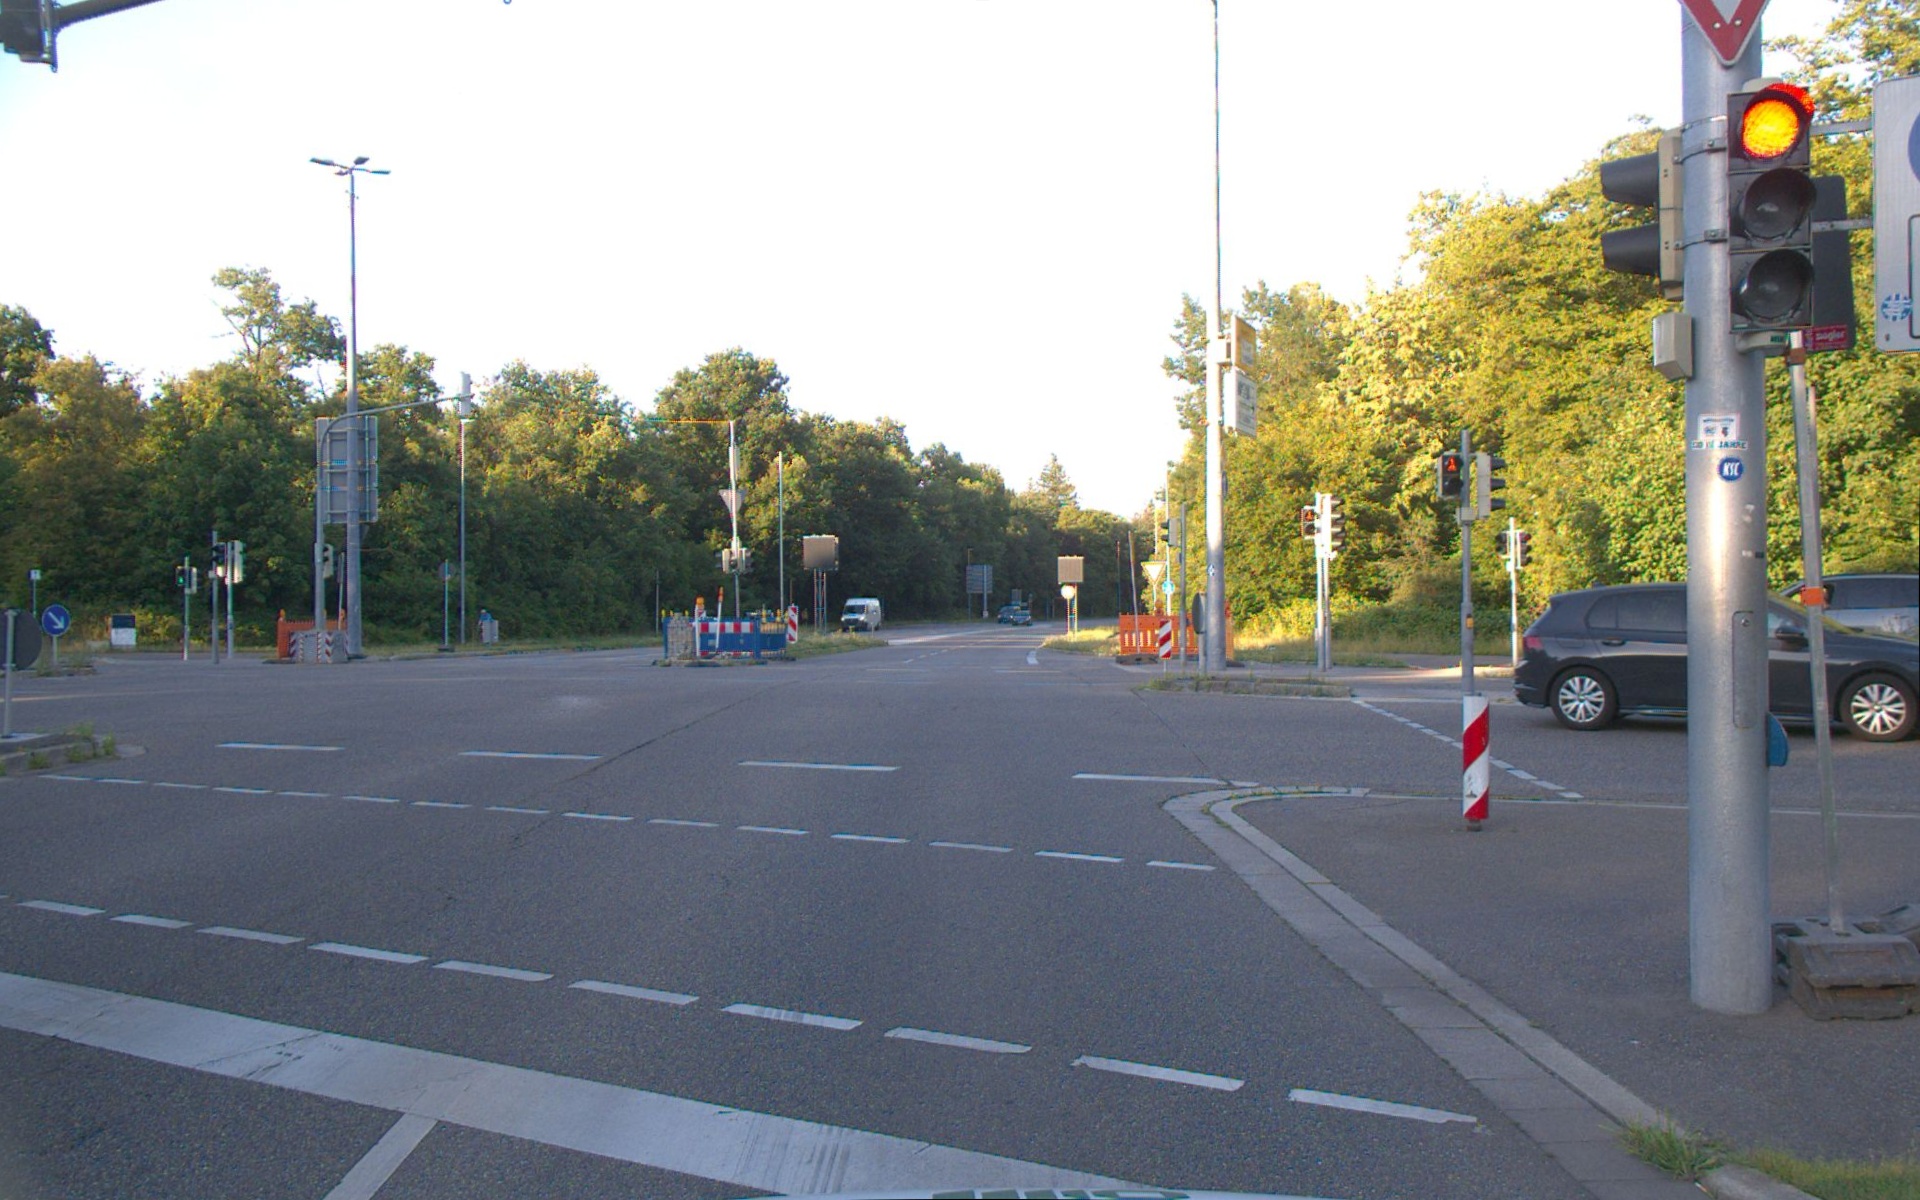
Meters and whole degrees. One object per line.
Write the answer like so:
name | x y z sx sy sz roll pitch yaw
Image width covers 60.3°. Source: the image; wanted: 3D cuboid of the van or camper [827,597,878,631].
van or camper | -8.637 1.124 133.986 2.824 2.699 7.127 0 0 7

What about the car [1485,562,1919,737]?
car | 7.802 0.449 16.426 4.580 1.556 1.995 0 0 33

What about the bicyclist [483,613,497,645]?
bicyclist | -21.322 1.317 75.049 0.515 1.411 0.401 0 0 -42

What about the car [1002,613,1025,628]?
car | 6.142 2.298 190.515 1.951 1.668 4.003 0 0 12

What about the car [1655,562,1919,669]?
car | 13.743 0.242 26.491 4.716 1.626 2.000 -1 0 21

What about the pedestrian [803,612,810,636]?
pedestrian | -13.398 2.066 143.933 0.511 2.049 0.600 1 -1 -1

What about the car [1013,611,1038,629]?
car | 6.812 2.065 172.160 1.951 1.668 4.004 -2 1 11
